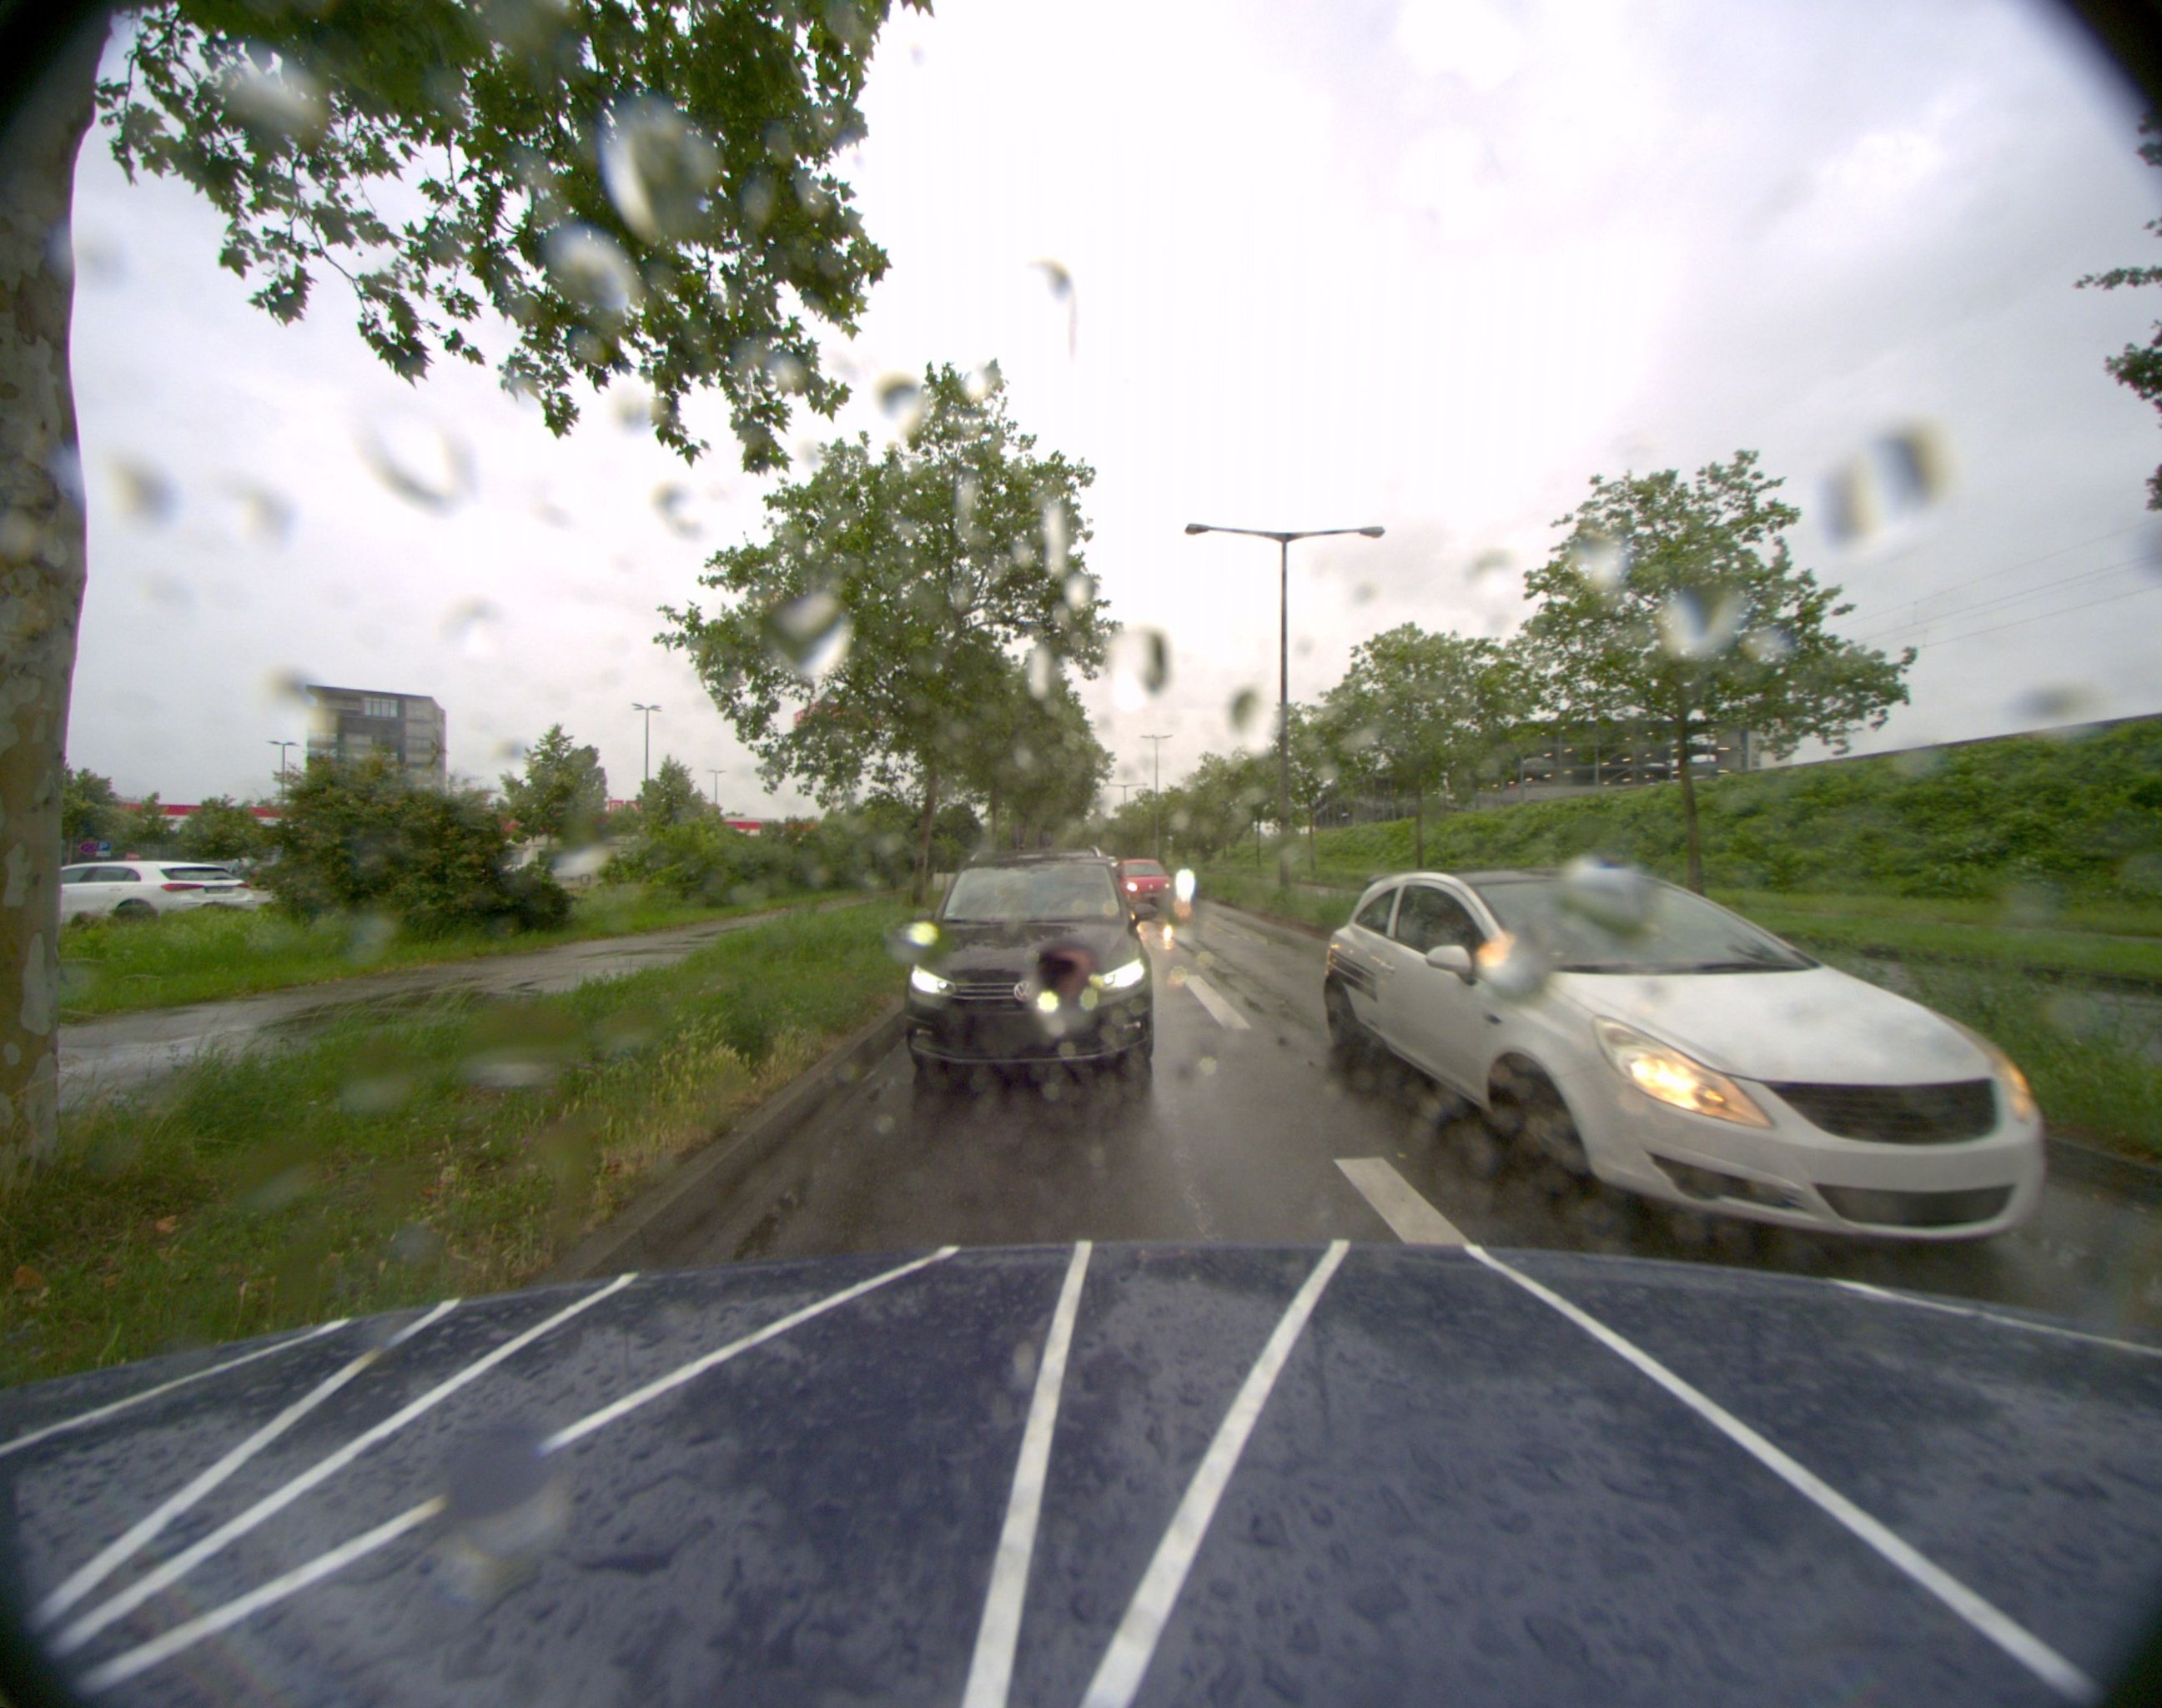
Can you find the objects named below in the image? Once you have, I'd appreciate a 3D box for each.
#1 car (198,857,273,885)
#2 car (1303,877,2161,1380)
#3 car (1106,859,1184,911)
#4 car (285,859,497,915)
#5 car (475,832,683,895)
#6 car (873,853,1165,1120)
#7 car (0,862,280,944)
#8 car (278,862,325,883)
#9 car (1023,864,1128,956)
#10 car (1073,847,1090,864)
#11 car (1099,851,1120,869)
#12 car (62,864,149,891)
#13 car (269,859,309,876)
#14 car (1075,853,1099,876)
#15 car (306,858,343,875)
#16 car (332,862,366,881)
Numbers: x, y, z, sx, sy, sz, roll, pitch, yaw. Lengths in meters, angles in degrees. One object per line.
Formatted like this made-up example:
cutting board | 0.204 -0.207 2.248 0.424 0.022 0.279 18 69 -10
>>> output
car | -50.030 0.977 45.052 1.933 1.543 4.262 0 0 -33
car | 2.754 0.908 4.355 1.683 1.368 4.010 -2 0 -1
car | 1.972 0.933 24.567 1.724 1.456 4.090 -2 0 -6
car | -19.940 0.920 22.144 4.272 1.543 1.929 0 0 -4
car | -19.659 0.356 30.093 6.425 2.349 2.390 0 1 -8
car | -0.431 0.831 7.081 1.771 1.596 4.626 -2 0 -1
car | -19.787 0.963 15.674 4.272 1.543 1.929 0 0 -4
car | -67.275 1.595 65.619 2.006 1.667 4.262 0 0 -34
car | -0.088 0.976 14.905 1.724 1.456 4.092 -2 0 0
car | 0.025 0.156 93.362 1.998 2.002 5.131 -2 1 0
car | 2.737 0.537 73.041 1.831 1.602 4.147 -2 0 0
car | -61.818 1.433 48.260 1.933 1.543 4.263 0 0 -30
car | -80.570 1.329 77.350 2.006 1.667 4.262 0 0 -35
car | 0.455 0.815 60.762 1.831 1.737 4.147 -2 0 0
car | -78.459 1.230 78.881 2.006 1.667 4.262 0 0 -35
car | -67.945 1.631 70.559 2.007 1.667 4.261 0 0 -41
